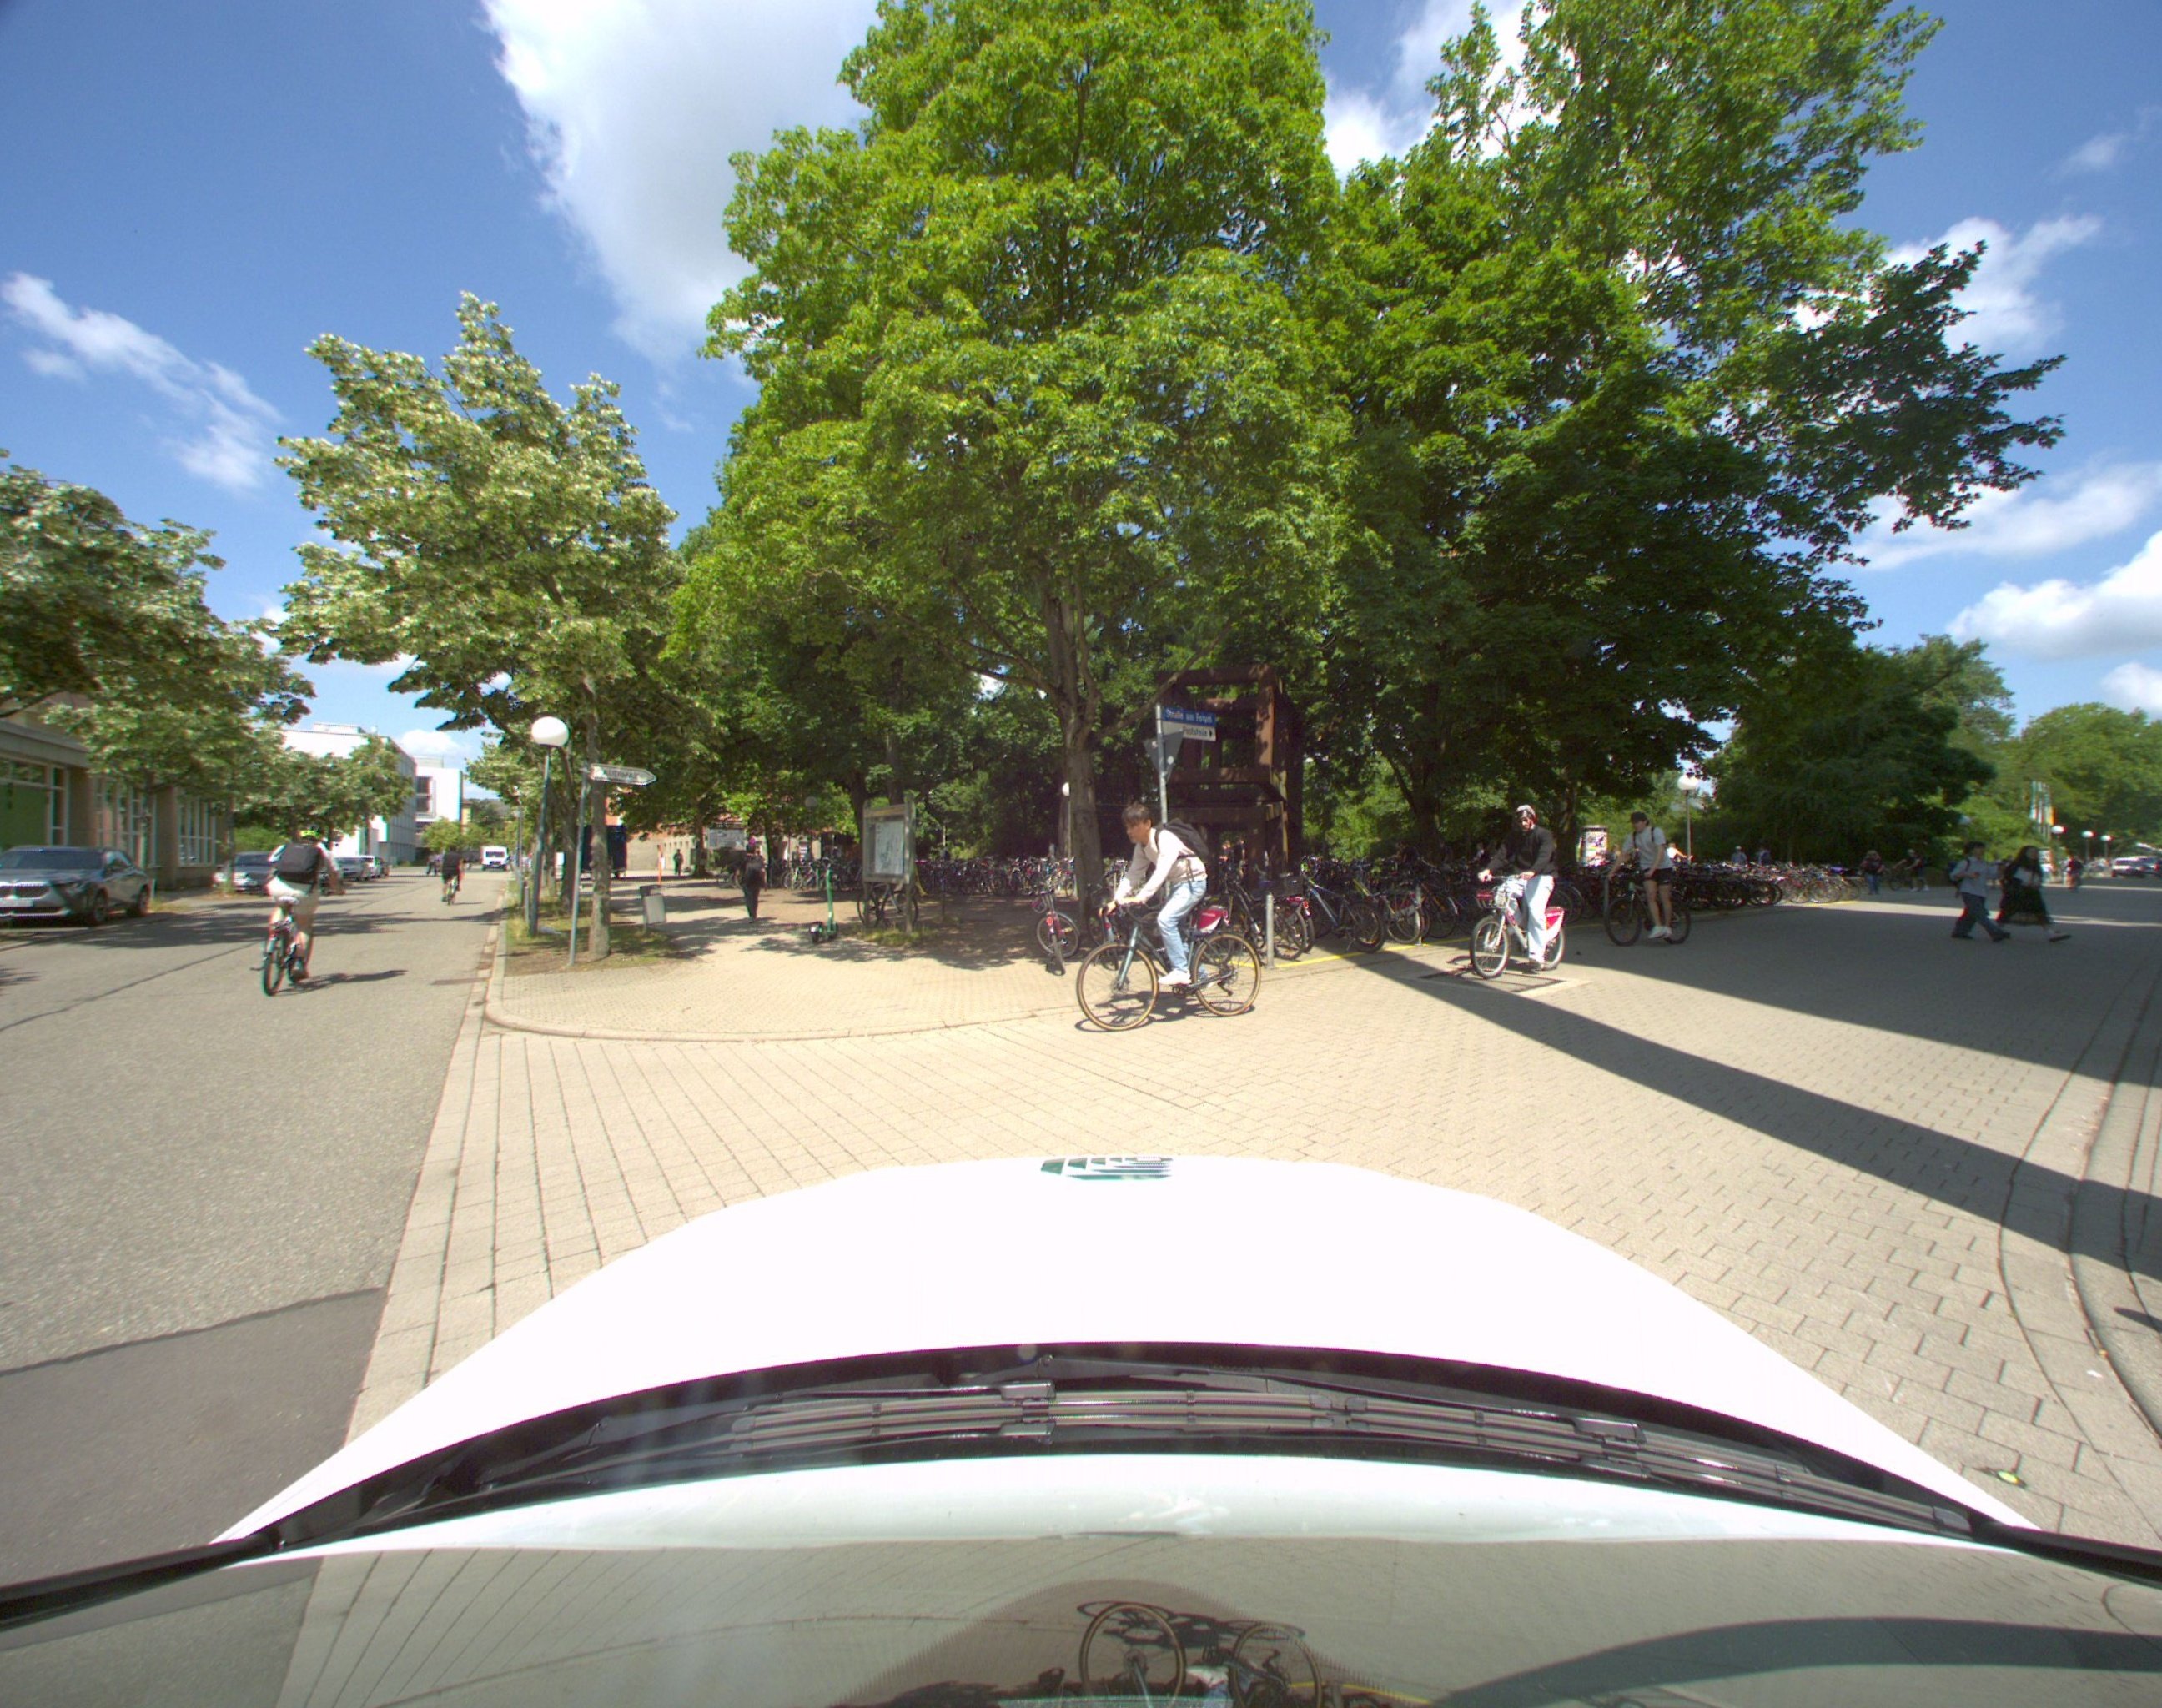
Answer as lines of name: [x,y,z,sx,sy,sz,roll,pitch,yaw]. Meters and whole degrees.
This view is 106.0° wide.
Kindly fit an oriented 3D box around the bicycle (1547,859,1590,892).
bicycle: [16.798,0.734,28.103,0.471,1.083,1.699,1,0,0]

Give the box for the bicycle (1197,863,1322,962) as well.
bicycle: [2.200,0.682,10.210,0.499,1.108,1.612,-2,1,-35]

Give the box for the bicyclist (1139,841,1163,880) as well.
bicyclist: [2.877,0.271,33.468,0.712,1.568,0.599,1,0,34]

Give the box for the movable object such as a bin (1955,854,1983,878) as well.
movable object such as a bin: [50.048,0.672,45.904,1.241,1.336,0.706,1,2,-25]

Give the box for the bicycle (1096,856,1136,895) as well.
bicycle: [1.079,0.625,24.451,0.497,1.108,1.917,1,0,25]

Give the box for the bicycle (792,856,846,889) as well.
bicycle: [-9.288,0.633,28.992,0.496,1.108,2.042,1,0,28]

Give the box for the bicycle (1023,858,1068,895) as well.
bicycle: [-1.065,0.675,25.163,0.497,1.108,2.017,1,0,25]

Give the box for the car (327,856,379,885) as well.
car: [-41.808,0.901,46.838,1.847,1.541,4.488,0,0,-37]

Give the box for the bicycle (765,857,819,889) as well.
bicycle: [-10.530,0.673,29.718,0.496,1.108,2.042,1,0,28]

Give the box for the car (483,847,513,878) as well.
car: [-60.123,0.895,83.956,2.279,3.014,5.675,2,-2,-36]

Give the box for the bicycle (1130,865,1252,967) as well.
bicycle: [1.300,0.704,9.928,0.499,1.108,1.612,-2,1,-35]

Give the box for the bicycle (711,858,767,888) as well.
bicycle: [-13.270,0.732,31.643,0.496,1.108,2.043,1,0,36]

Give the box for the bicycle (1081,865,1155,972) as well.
bicycle: [0.413,0.719,9.847,0.588,1.108,1.742,-1,1,-7]

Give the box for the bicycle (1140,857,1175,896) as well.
bicycle: [2.281,0.651,24.170,0.497,1.108,1.917,1,0,22]

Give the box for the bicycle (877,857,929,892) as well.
bicycle: [-5.944,0.670,27.295,0.496,1.108,2.042,1,0,28]

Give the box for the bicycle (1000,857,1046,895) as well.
bicycle: [-1.791,0.662,25.372,0.497,1.108,2.017,1,0,25]

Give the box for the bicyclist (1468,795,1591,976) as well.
bicyclist: [4.925,0.331,8.973,0.969,1.887,0.670,1,1,-21]

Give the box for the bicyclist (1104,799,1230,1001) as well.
bicyclist: [0.705,0.349,6.790,0.873,1.573,0.638,-1,2,-12]

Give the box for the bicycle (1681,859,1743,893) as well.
bicycle: [21.880,0.737,28.278,0.474,1.110,1.687,1,0,-22]

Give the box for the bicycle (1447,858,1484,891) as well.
bicycle: [13.495,0.713,28.627,0.471,1.083,1.699,1,0,0]

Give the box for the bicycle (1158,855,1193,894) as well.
bicycle: [2.810,0.580,24.047,0.497,1.108,1.917,1,0,22]

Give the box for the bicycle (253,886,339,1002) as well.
bicycle: [-8.916,0.960,9.303,0.608,1.108,2.047,-1,0,-41]

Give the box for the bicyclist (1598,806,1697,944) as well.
bicyclist: [8.126,0.280,11.692,0.869,1.891,0.798,1,1,-27]

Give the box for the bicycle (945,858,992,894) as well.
bicycle: [-3.597,0.675,26.200,0.497,1.108,2.041,1,0,22]

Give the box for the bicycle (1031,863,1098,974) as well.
bicycle: [-0.227,0.719,9.749,0.636,1.159,1.626,-1,1,-7]

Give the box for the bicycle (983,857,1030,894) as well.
bicycle: [-2.324,0.654,25.625,0.497,1.108,2.017,1,0,25]

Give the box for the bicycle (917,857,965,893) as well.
bicycle: [-4.551,0.661,26.582,0.497,1.108,2.041,1,0,22]

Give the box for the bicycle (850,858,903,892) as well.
bicycle: [-6.979,0.684,27.855,0.496,1.108,2.042,1,0,28]

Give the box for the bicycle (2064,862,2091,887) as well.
bicycle: [48.116,0.994,39.313,2.118,1.150,0.765,2,-2,-38]

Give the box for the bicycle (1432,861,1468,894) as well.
bicycle: [12.959,0.807,28.637,0.471,1.083,1.699,1,0,0]

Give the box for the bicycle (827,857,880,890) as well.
bicycle: [-7.938,0.657,28.470,0.496,1.108,2.042,1,0,28]

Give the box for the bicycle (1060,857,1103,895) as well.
bicycle: [0.041,0.649,24.991,0.497,1.108,2.017,1,0,25]

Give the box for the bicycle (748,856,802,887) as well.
bicycle: [-11.356,0.644,30.316,0.496,1.108,2.042,1,0,28]

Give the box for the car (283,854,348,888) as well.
car: [-37.053,0.788,39.519,1.847,1.541,4.488,0,0,-37]

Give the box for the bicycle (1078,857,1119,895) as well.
bicycle: [0.547,0.648,24.810,0.497,1.108,1.917,1,0,25]

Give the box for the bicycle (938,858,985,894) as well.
bicycle: [-3.841,0.681,26.301,0.497,1.108,2.041,1,0,22]

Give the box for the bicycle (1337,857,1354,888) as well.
bicycle: [9.438,0.639,29.084,0.469,1.083,1.707,1,0,16]

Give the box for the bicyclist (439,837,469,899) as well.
bicyclist: [-19.170,0.422,24.892,0.674,1.875,0.817,-1,0,-41]

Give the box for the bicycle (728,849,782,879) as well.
bicycle: [-12.348,0.364,30.926,0.496,1.108,2.042,1,0,28]

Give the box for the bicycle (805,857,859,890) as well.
bicycle: [-8.736,0.656,28.702,0.496,1.108,2.042,1,0,28]

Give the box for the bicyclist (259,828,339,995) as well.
bicyclist: [-8.906,0.617,9.299,0.608,1.801,0.888,-1,0,-41]

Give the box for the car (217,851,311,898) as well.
car: [-30.523,0.702,30.555,1.847,1.633,4.488,0,0,-37]

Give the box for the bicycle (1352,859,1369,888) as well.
bicycle: [9.937,0.680,28.952,0.447,0.962,1.747,1,0,16]

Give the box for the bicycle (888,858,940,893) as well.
bicycle: [-5.510,0.684,26.975,0.496,1.108,2.042,1,0,28]

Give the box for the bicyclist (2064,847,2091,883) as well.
bicyclist: [48.047,0.527,39.264,0.915,1.716,0.765,2,-2,-38]

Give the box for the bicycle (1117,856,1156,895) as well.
bicycle: [1.688,0.627,24.495,0.497,1.108,1.917,1,0,25]

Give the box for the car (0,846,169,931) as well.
car: [-21.835,0.671,17.661,1.846,1.617,4.488,2,-1,-37]

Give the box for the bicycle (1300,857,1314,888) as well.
bicycle: [8.239,0.660,29.642,0.469,1.083,1.707,1,0,16]

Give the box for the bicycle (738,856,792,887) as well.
bicycle: [-11.885,0.643,30.698,0.496,1.108,2.042,1,0,28]

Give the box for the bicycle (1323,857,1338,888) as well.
bicycle: [9.019,0.665,29.485,0.469,1.083,1.707,1,0,16]

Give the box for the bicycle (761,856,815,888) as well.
bicycle: [-10.738,0.640,29.925,0.496,1.108,2.042,1,0,28]

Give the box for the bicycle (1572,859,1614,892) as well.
bicycle: [17.753,0.736,28.269,0.470,1.083,1.701,1,0,3]

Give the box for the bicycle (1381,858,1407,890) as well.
bicycle: [11.160,0.696,29.052,0.470,1.083,1.703,1,0,8]
